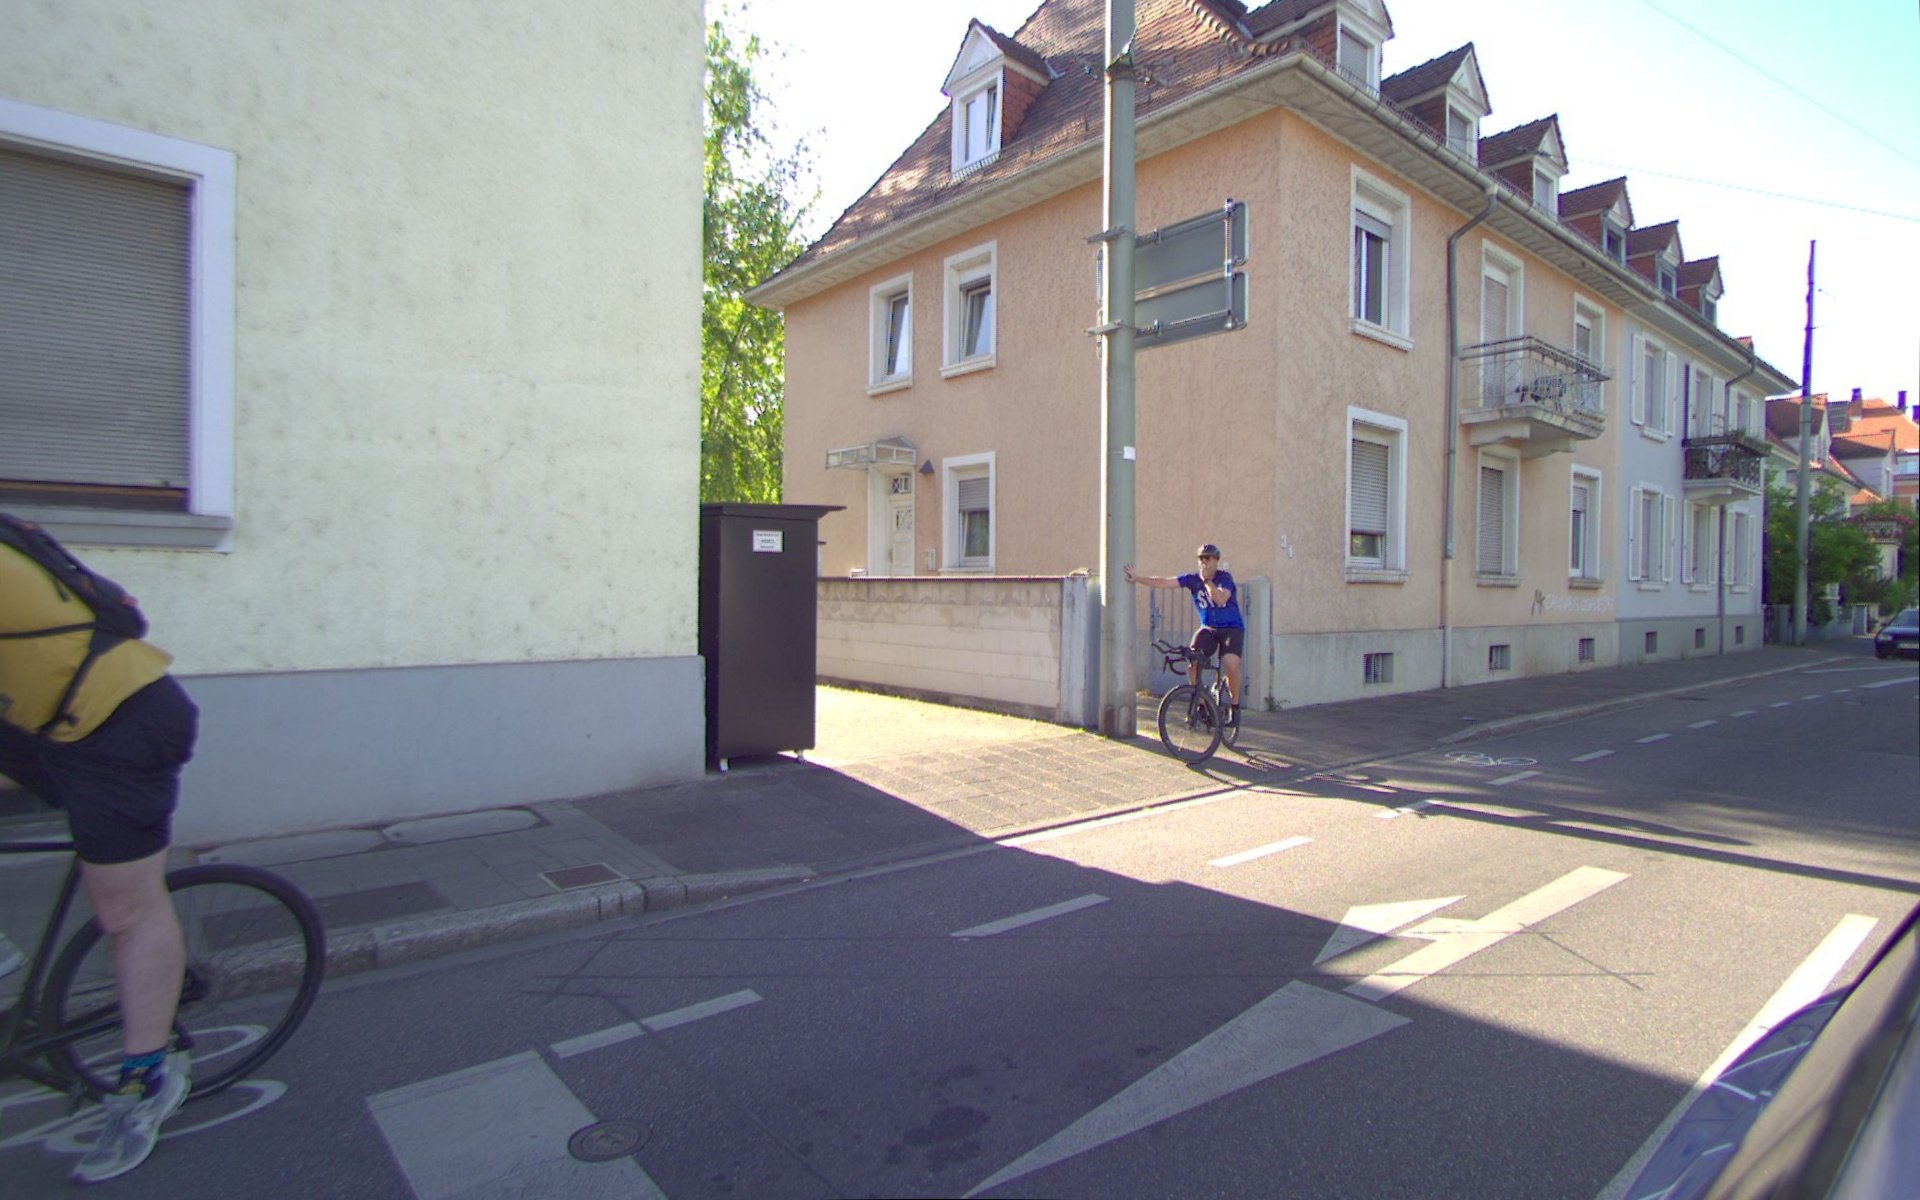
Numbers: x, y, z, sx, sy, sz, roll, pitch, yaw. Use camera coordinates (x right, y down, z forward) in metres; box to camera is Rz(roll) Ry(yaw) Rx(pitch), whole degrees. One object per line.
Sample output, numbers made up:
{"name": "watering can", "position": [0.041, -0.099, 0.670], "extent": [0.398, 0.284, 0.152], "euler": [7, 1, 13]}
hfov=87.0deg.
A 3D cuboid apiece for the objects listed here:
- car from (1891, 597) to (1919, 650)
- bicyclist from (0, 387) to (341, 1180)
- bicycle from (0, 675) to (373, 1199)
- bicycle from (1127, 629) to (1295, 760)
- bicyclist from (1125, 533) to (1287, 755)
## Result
{"name": "car", "position": [26.693, 0.625, 27.348], "extent": [3.796, 1.382, 1.648], "euler": [0, 1, -38]}
{"name": "bicyclist", "position": [-2.305, 0.420, 2.703], "extent": [1.018, 1.840, 0.653], "euler": [0, 1, -41]}
{"name": "bicycle", "position": [-2.481, 0.843, 2.538], "extent": [1.669, 1.180, 0.572], "euler": [0, 1, -41]}
{"name": "bicycle", "position": [2.312, 0.816, 9.213], "extent": [1.669, 1.003, 0.572], "euler": [0, 4, -41]}
{"name": "bicyclist", "position": [2.279, 0.359, 9.438], "extent": [0.831, 1.887, 1.076], "euler": [0, 4, -40]}
